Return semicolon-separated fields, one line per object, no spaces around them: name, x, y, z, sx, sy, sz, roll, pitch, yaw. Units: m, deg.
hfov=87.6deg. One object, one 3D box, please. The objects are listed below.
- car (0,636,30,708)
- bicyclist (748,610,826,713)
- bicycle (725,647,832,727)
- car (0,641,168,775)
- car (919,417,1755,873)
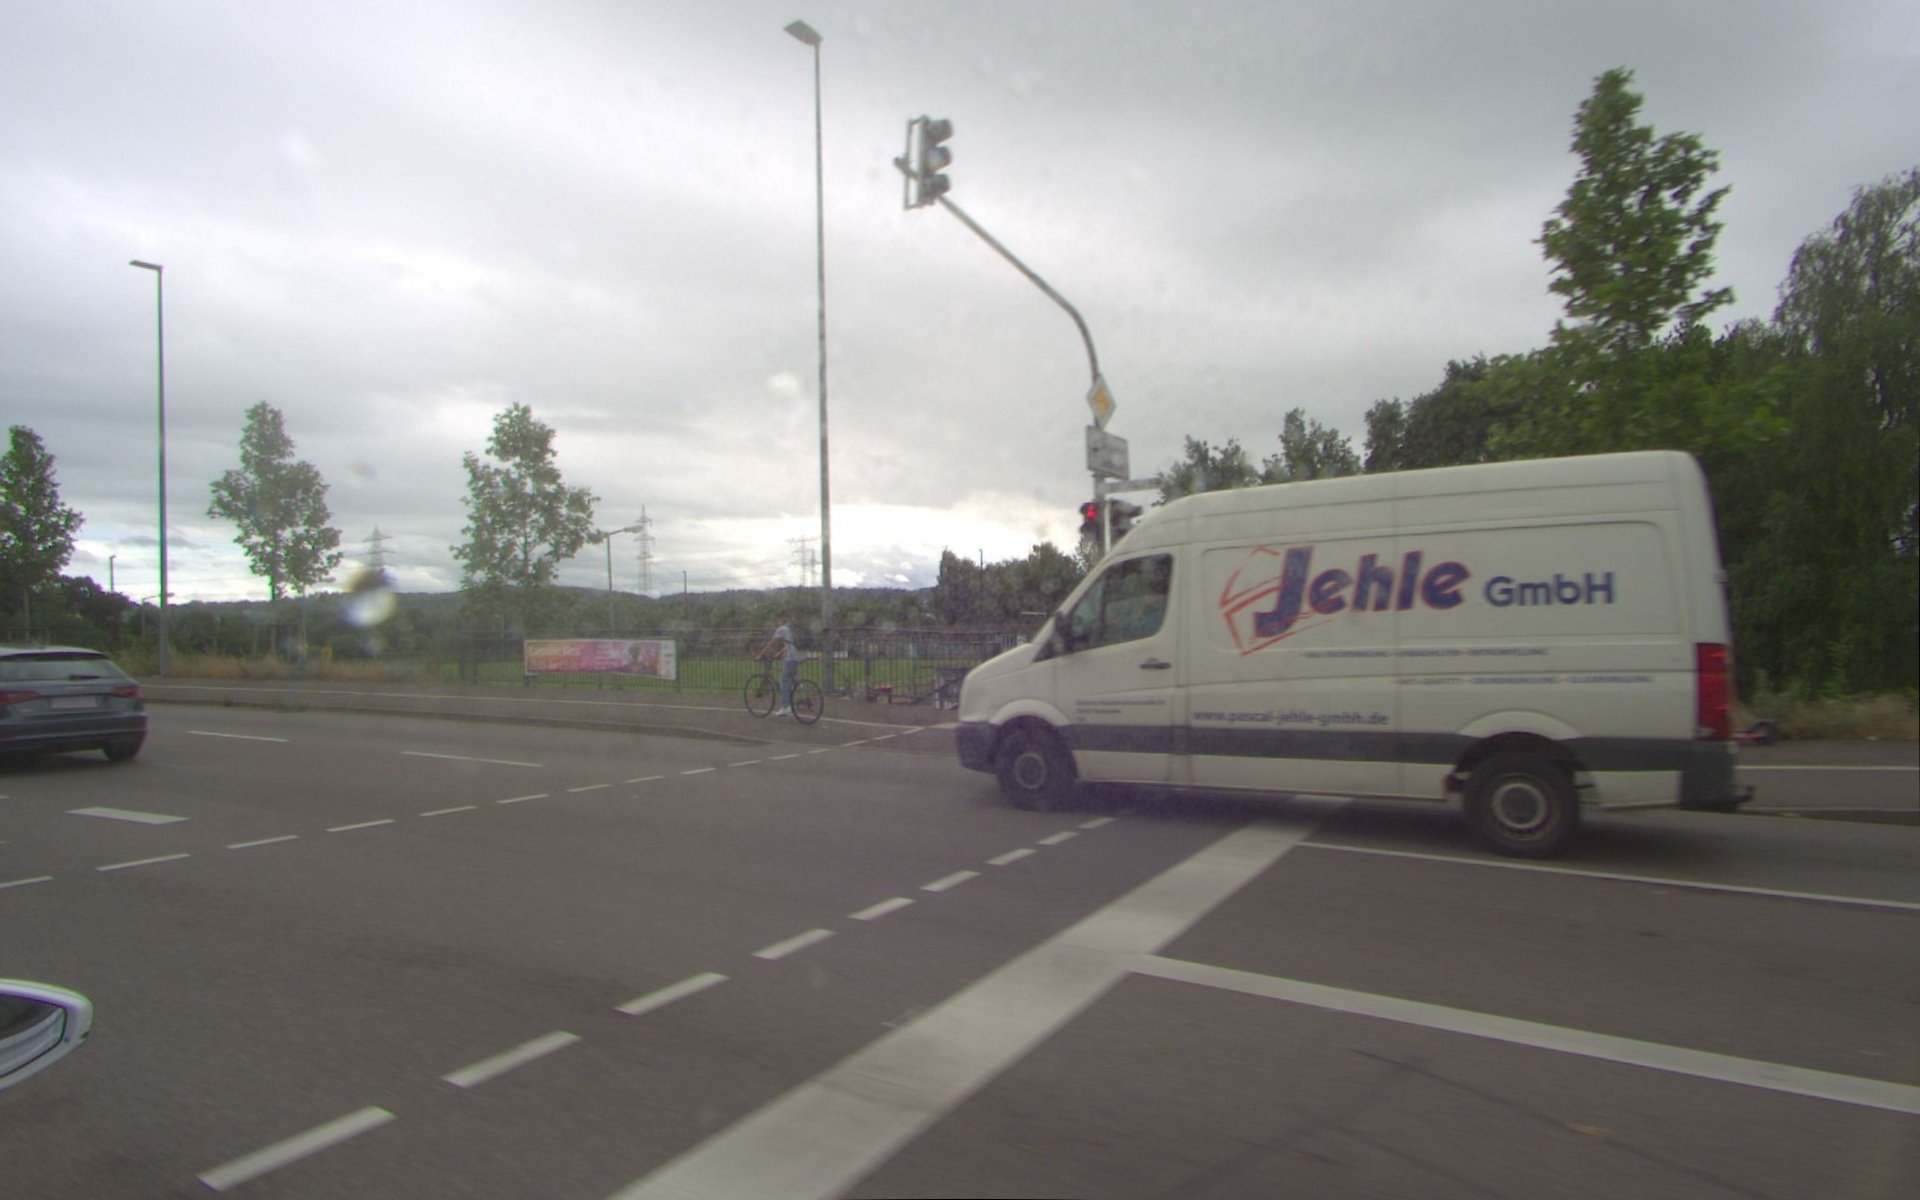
car;-22.368;1.534;22.051;4.256;1.498;1.732;0;-1;32
bicyclist;-2.656;0.915;15.388;0.953;1.473;0.689;3;4;29
bicycle;-2.834;1.324;15.558;1.682;1.060;0.546;3;4;29
car;-11.857;1.230;12.319;4.011;1.419;1.738;-1;-2;25
car;2.792;0.360;8.492;5.813;2.659;2.653;-1;-2;31
